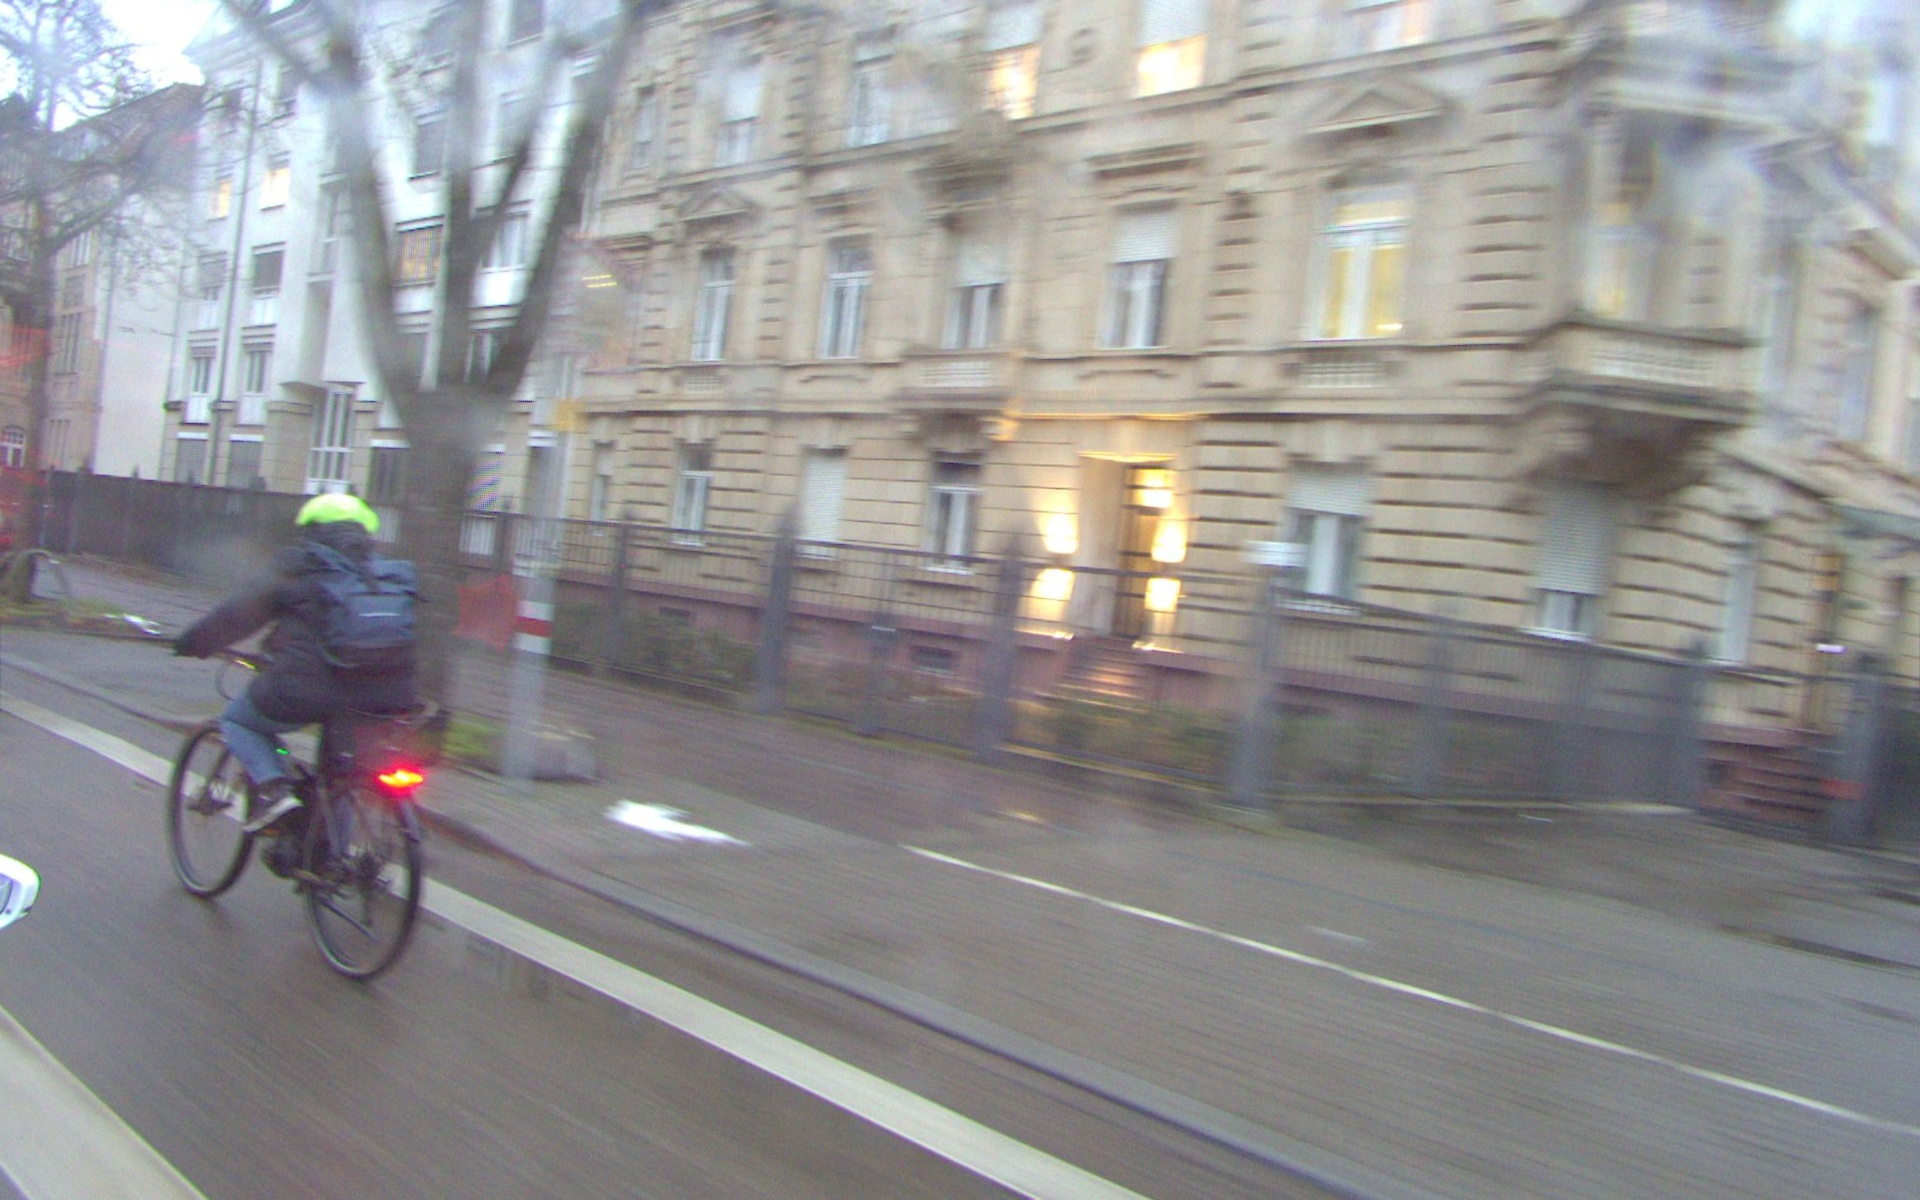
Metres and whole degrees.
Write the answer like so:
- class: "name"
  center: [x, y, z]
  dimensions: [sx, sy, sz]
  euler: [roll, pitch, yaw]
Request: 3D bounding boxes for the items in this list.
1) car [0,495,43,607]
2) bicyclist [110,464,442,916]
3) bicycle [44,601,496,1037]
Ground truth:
- class: "car"
  center: [-14.912, -0.908, 14.271]
  dimensions: [3.974, 1.478, 1.679]
  euler: [7, 1, 31]
- class: "bicyclist"
  center: [-2.584, 0.292, 3.807]
  dimensions: [0.835, 1.465, 0.656]
  euler: [8, 2, 33]
- class: "bicycle"
  center: [-2.742, 0.692, 3.903]
  dimensions: [1.997, 1.110, 0.707]
  euler: [8, 1, 35]
